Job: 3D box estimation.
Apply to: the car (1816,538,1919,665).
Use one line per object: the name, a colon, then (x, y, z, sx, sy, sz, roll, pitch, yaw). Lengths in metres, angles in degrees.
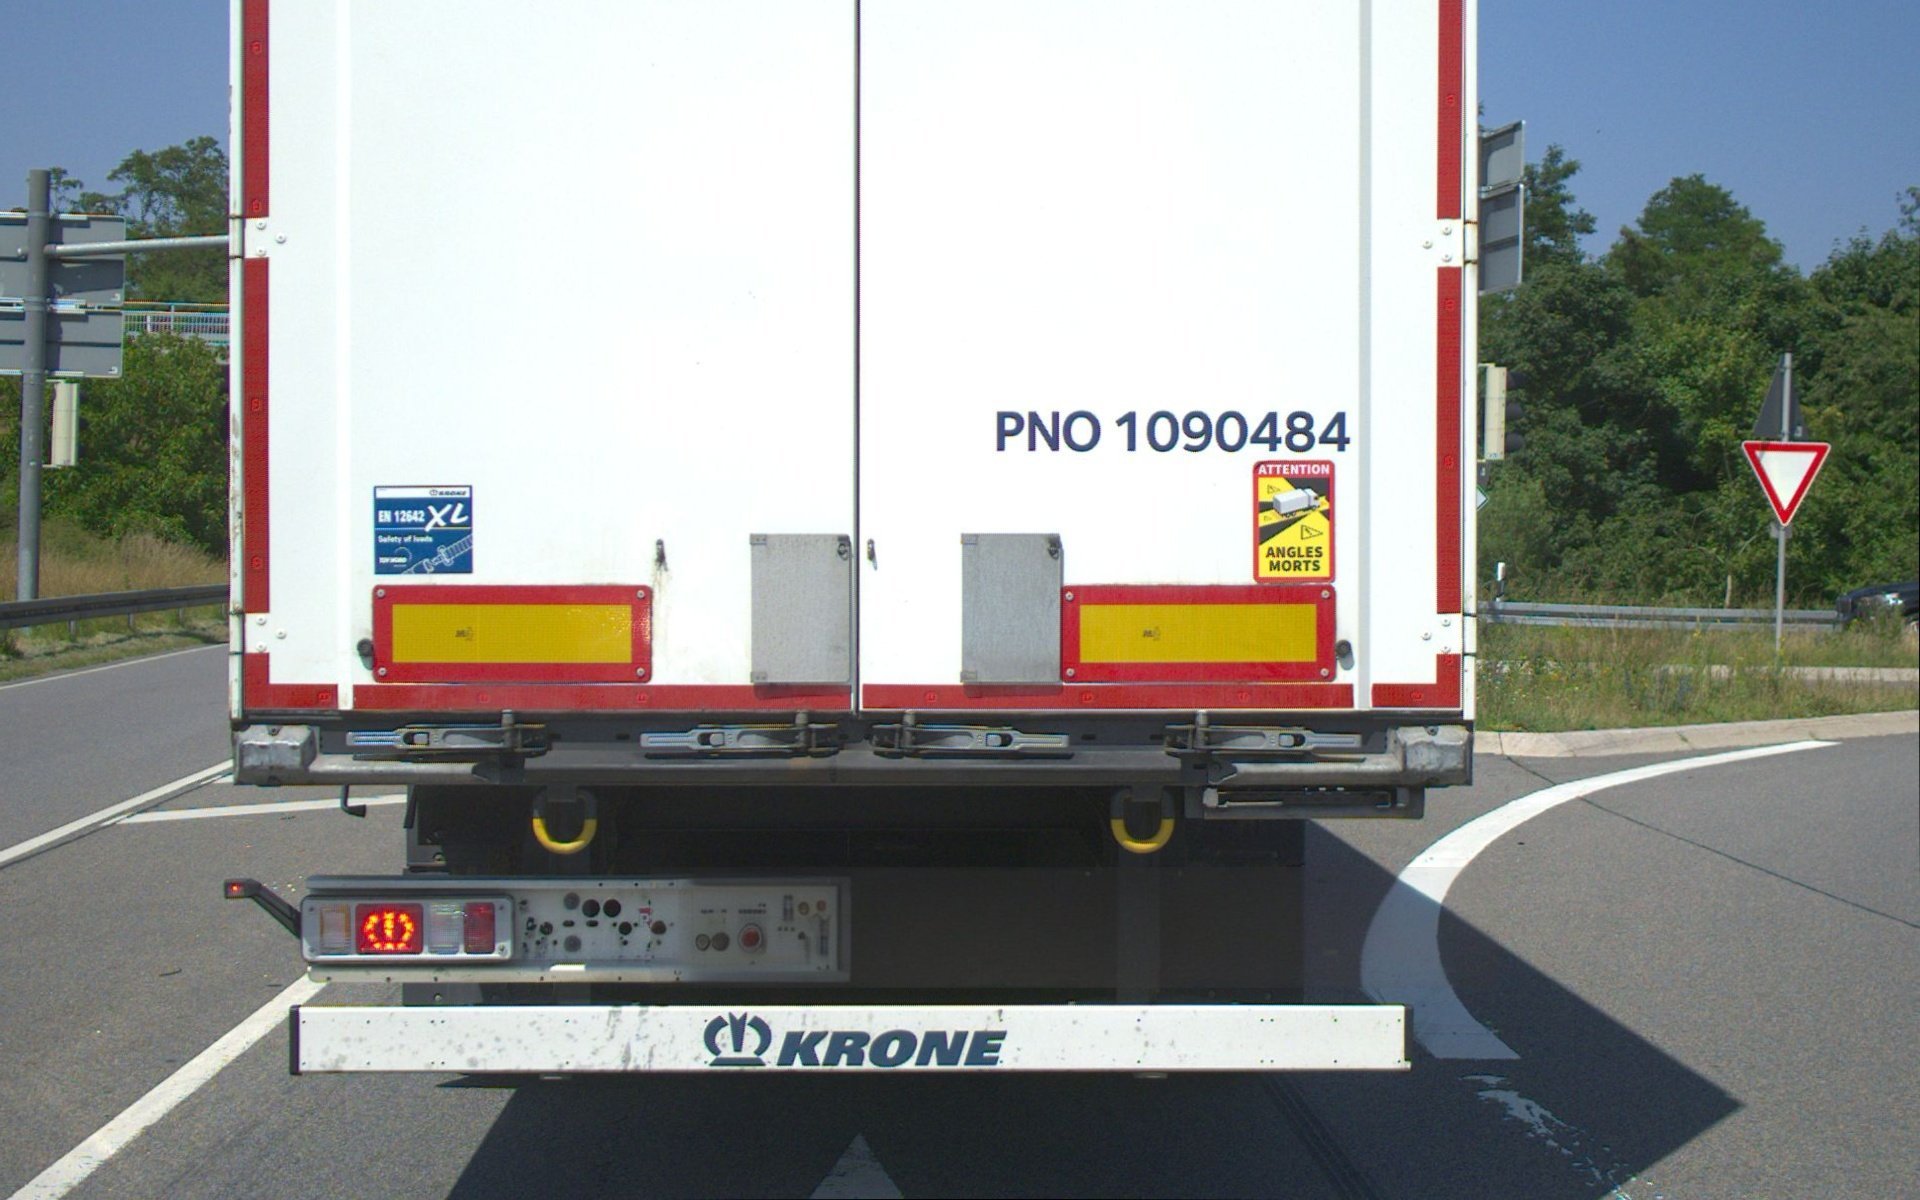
car: (13.526, 0.030, 44.430, 4.486, 1.592, 1.767, 1, 0, 2)

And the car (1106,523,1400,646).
car: (4.077, -0.220, 47.839, 3.986, 1.634, 1.841, 1, 0, 5)

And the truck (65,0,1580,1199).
truck: (-0.369, -0.655, 11.762, 2.987, 3.928, 9.876, 0, 1, -1)
